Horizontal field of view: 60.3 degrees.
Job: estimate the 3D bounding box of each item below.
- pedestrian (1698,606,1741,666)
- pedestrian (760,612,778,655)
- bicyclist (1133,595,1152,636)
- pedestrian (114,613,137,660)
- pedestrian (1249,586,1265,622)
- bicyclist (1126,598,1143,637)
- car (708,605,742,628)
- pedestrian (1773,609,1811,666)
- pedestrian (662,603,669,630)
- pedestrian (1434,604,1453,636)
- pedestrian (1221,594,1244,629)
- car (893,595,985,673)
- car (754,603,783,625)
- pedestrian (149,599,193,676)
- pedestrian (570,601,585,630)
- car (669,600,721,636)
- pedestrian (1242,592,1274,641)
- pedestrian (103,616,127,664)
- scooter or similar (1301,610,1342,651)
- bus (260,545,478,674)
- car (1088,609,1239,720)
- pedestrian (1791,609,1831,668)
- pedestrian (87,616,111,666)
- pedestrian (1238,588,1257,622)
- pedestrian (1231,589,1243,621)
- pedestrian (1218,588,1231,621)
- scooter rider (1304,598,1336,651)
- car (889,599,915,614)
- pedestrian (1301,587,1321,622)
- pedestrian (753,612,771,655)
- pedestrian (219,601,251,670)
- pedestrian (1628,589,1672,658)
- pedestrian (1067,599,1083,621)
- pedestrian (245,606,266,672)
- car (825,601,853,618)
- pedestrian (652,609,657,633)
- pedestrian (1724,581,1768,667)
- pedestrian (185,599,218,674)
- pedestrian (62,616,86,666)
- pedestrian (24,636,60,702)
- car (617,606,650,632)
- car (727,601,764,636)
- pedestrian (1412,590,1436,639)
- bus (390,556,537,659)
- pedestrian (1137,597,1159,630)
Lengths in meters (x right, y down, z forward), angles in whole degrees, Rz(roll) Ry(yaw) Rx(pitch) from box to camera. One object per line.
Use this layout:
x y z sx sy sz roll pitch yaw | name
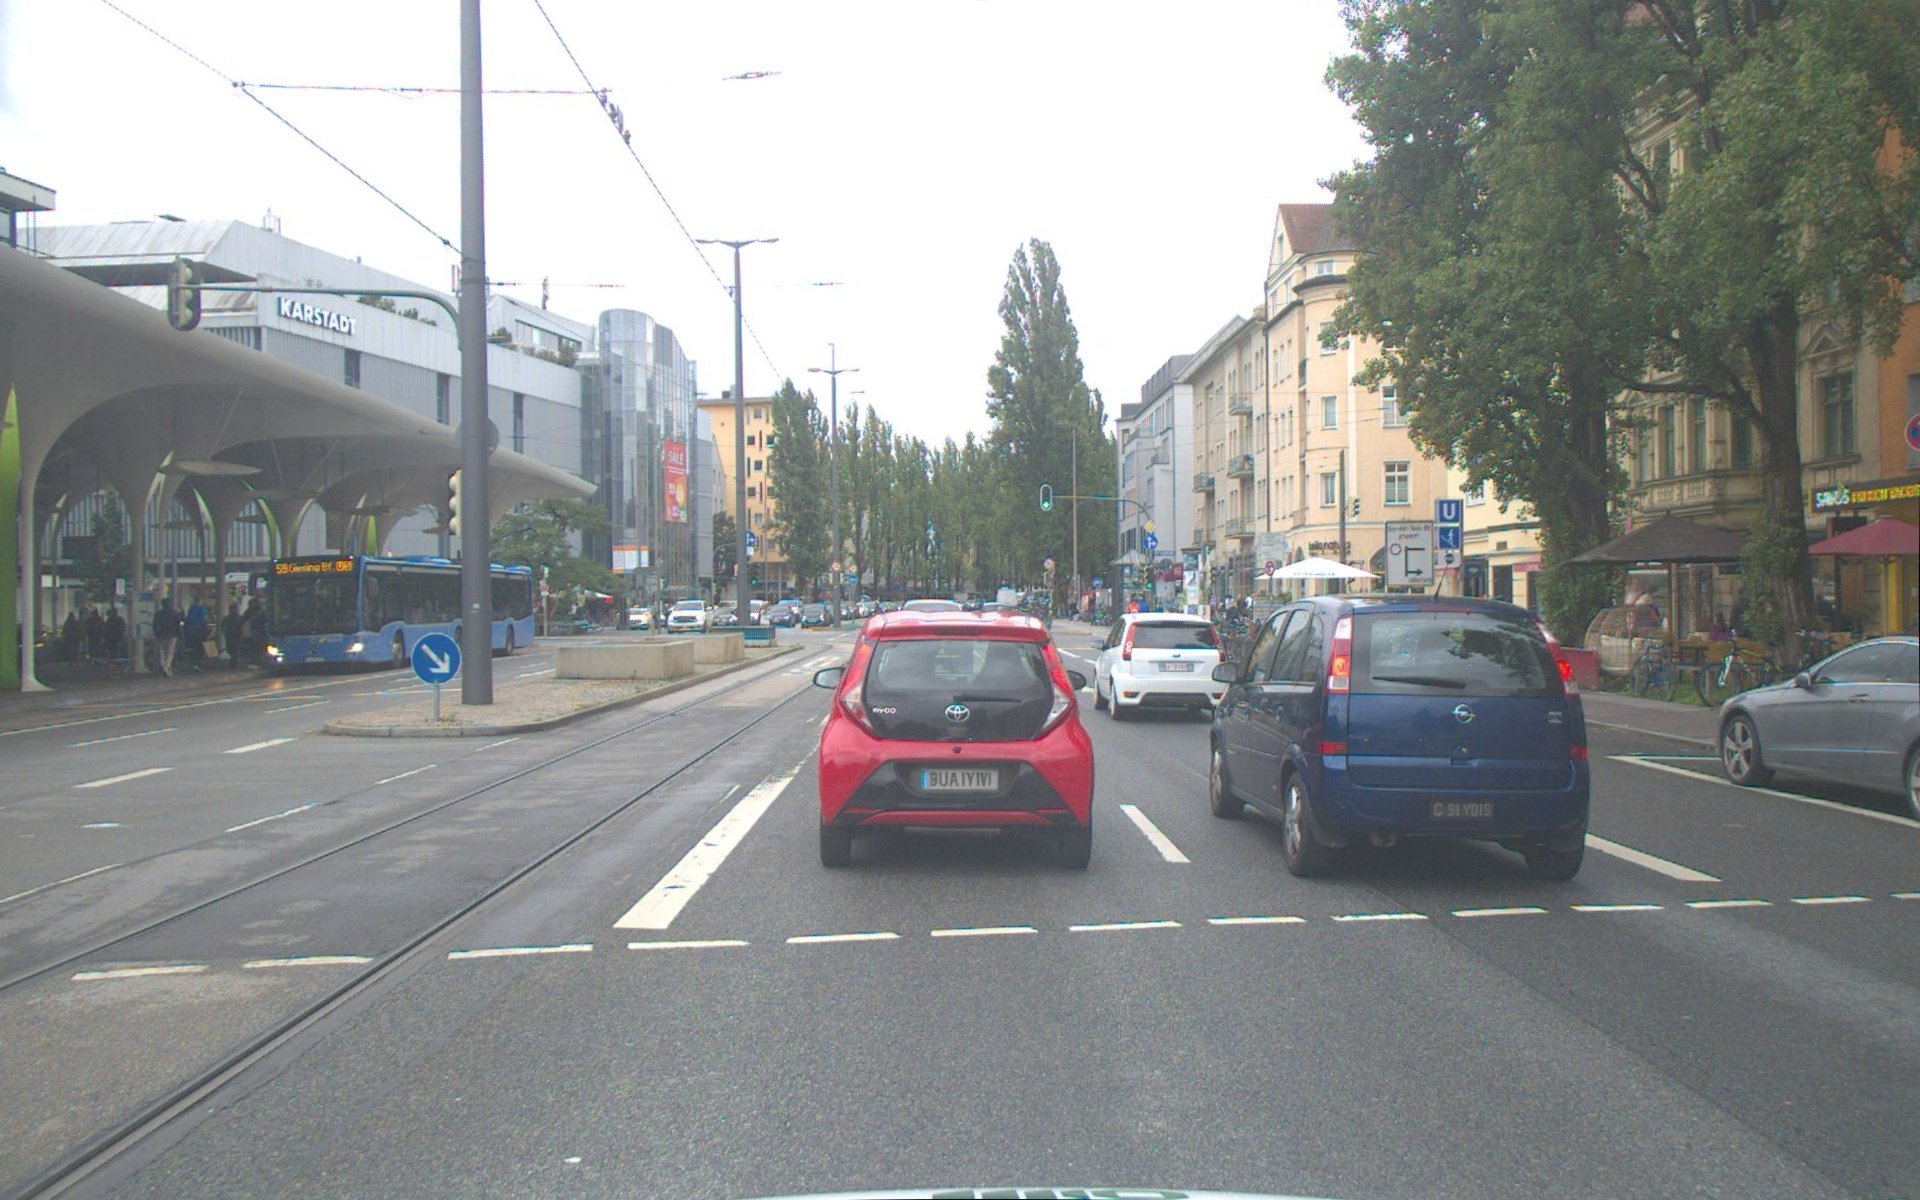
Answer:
15.881 0.745 34.602 0.588 1.243 0.666 -1 0 -1 | pedestrian
-7.385 1.310 64.034 0.513 1.647 0.461 -1 0 43 | pedestrian
8.635 0.744 78.108 0.747 1.902 1.133 -1 0 0 | bicyclist
-29.439 1.276 58.344 0.562 1.639 0.580 -1 0 -10 | pedestrian
15.415 0.198 85.877 0.636 1.782 0.635 -2 3 -9 | pedestrian
7.774 0.770 73.828 0.601 1.686 1.251 -1 0 0 | bicyclist
-14.962 1.012 105.551 1.639 1.403 4.611 -1 0 -2 | car
19.095 0.855 37.963 0.571 1.303 0.583 -1 0 -2 | pedestrian
-19.913 1.129 111.742 0.437 1.790 0.355 -1 0 -5 | pedestrian
18.430 0.776 63.078 0.504 1.202 0.703 -1 0 -2 | pedestrian
12.206 0.525 74.102 0.717 1.567 0.887 -1 0 -15 | pedestrian
-0.491 0.732 37.331 1.953 1.646 3.999 -1 0 -1 | car
-12.743 0.894 110.187 1.644 1.420 4.230 -1 0 -3 | car
-18.458 0.867 38.710 0.700 1.752 0.879 -1 0 -10 | pedestrian
-24.053 0.989 103.977 0.739 1.804 0.767 -1 0 -24 | pedestrian
-14.658 0.958 91.750 2.132 1.920 6.153 -1 0 -3 | car
10.884 0.594 60.436 0.867 1.773 0.854 -1 0 -17 | pedestrian
-28.931 1.365 56.639 0.562 1.639 0.546 -1 0 -10 | pedestrian
9.755 0.814 44.655 0.760 1.094 1.256 -1 0 -3 | scooter or similar
-16.033 0.232 45.872 2.607 3.060 10.510 -3 0 -3 | bus
2.847 0.864 23.771 1.665 1.451 3.496 1 0 -1 | car
19.090 0.854 37.125 0.571 1.303 0.583 -1 0 -2 | pedestrian
-28.684 1.370 55.102 0.562 1.639 0.546 -1 0 -10 | pedestrian
15.100 0.270 86.792 0.637 1.734 0.726 -3 3 -30 | pedestrian
14.534 0.256 86.844 0.548 1.637 0.568 -1 3 12 | pedestrian
13.853 0.243 86.698 0.554 1.700 0.562 0 3 22 | pedestrian
9.712 0.657 44.657 0.686 1.413 0.643 -1 0 -3 | scooter rider
-6.278 0.706 179.368 1.951 1.561 4.591 -1 0 9 | car
17.898 0.212 84.293 0.737 1.714 0.676 -3 3 -30 | pedestrian
-7.685 1.305 64.295 0.482 1.647 0.551 -1 0 -35 | pedestrian
-18.823 0.917 42.963 0.494 1.764 0.572 -1 0 20 | pedestrian
16.654 0.561 39.931 0.696 1.661 0.786 -1 0 -1 | pedestrian
8.004 0.682 114.889 0.795 1.549 0.797 -1 0 35 | pedestrian
-17.696 0.981 41.544 0.385 1.633 0.390 -1 0 -6 | pedestrian
-10.548 0.783 144.065 1.952 1.436 4.169 1 0 2 | car
-20.628 1.421 111.728 0.347 1.594 0.270 -1 0 -12 | pedestrian
16.435 0.504 34.602 0.588 1.770 0.666 -1 0 -1 | pedestrian
-18.356 0.878 40.023 0.555 1.774 0.753 -1 0 -13 | pedestrian
-29.524 1.349 55.122 0.562 1.639 0.546 -1 0 -10 | pedestrian
-28.958 2.167 52.192 0.898 2.049 0.664 0 0 -39 | pedestrian
-21.651 1.234 109.616 1.959 1.563 4.400 -2 1 -13 | car
-12.343 1.041 95.270 1.750 1.887 4.215 -2 0 -3 | car
16.045 0.503 57.198 0.602 1.661 0.677 -1 0 -1 | pedestrian
-16.322 0.241 54.942 2.606 3.060 7.511 -3 0 -1 | bus
9.803 0.704 86.381 0.820 1.720 0.816 -1 0 37 | pedestrian
